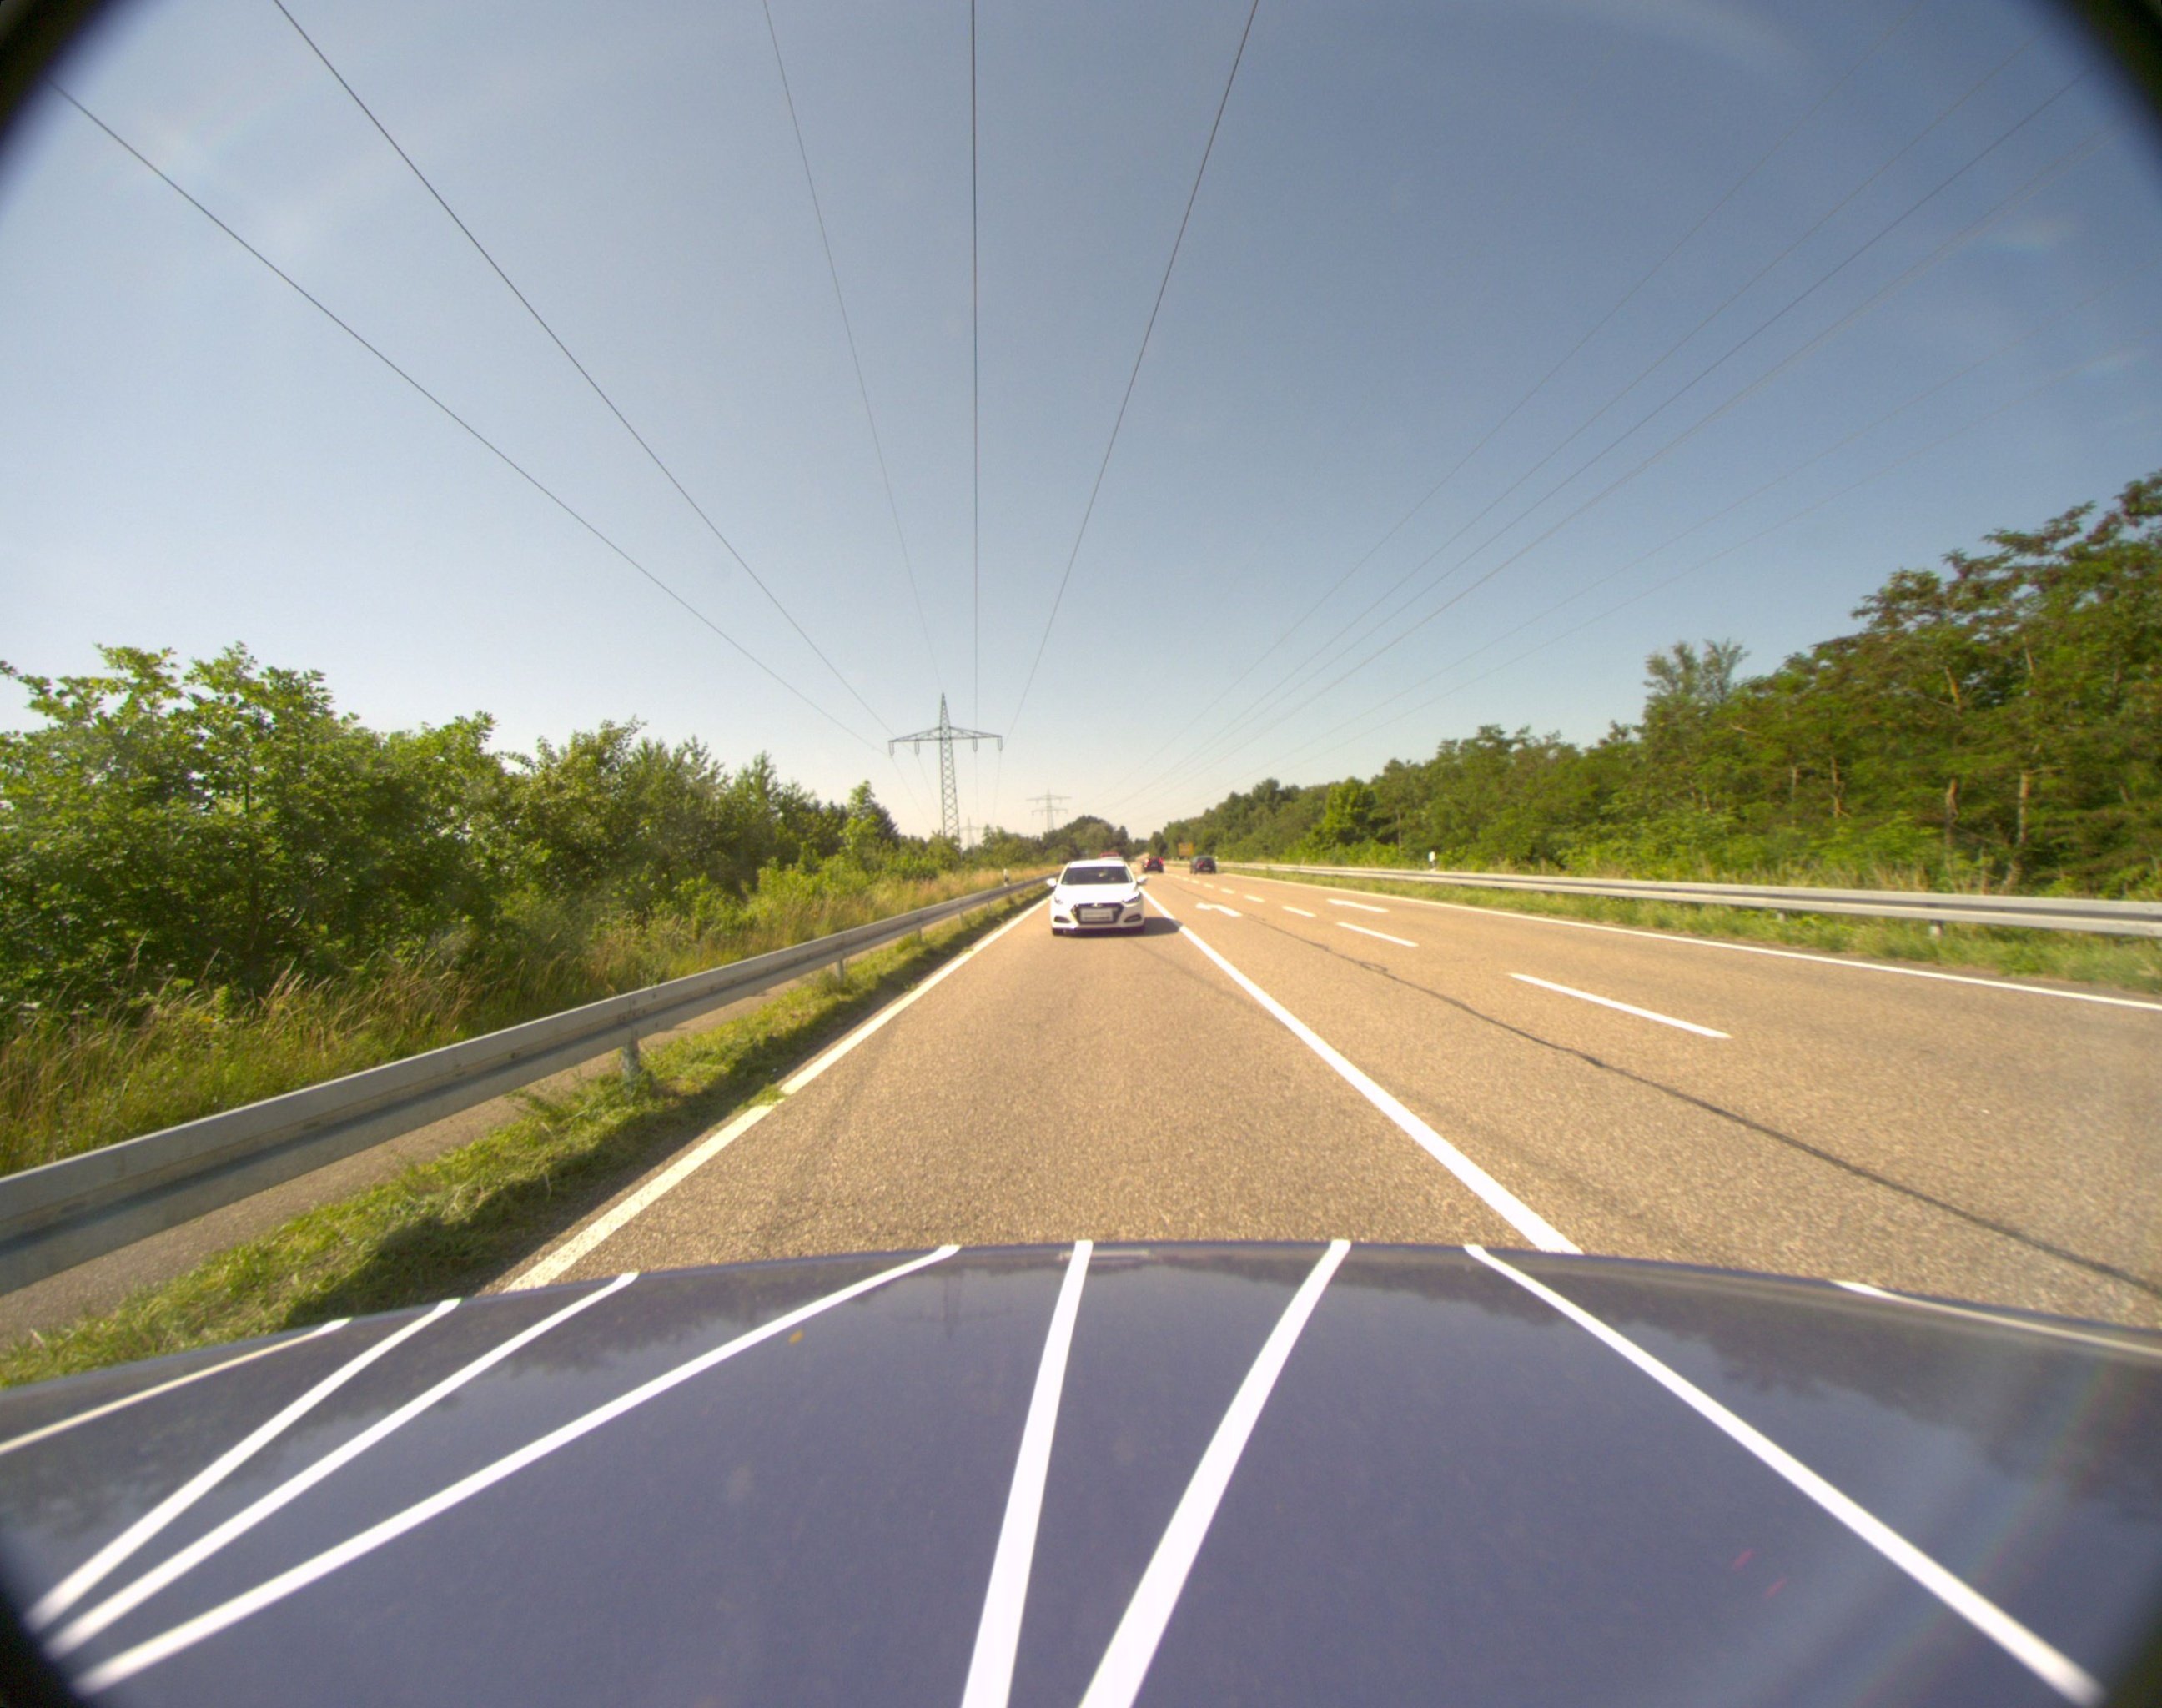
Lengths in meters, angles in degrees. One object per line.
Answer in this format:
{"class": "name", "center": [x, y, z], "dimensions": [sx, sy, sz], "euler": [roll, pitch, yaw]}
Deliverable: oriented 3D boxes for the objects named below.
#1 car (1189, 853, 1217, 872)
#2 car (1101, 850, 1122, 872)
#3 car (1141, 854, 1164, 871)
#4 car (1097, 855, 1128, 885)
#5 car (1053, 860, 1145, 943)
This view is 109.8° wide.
{"class": "car", "center": [9.675, 0.638, 60.443], "dimensions": [1.663, 1.433, 4.214], "euler": [-2, 0, 2]}
{"class": "car", "center": [2.853, 0.655, 71.310], "dimensions": [1.794, 1.892, 4.838], "euler": [-2, 0, 1]}
{"class": "car", "center": [6.690, 0.739, 71.073], "dimensions": [1.731, 1.482, 4.422], "euler": [-2, 0, 1]}
{"class": "car", "center": [1.639, 0.833, 40.838], "dimensions": [1.549, 1.460, 3.661], "euler": [-2, 0, 1]}
{"class": "car", "center": [0.406, 0.909, 16.401], "dimensions": [1.683, 1.471, 4.474], "euler": [-1, 0, 2]}
